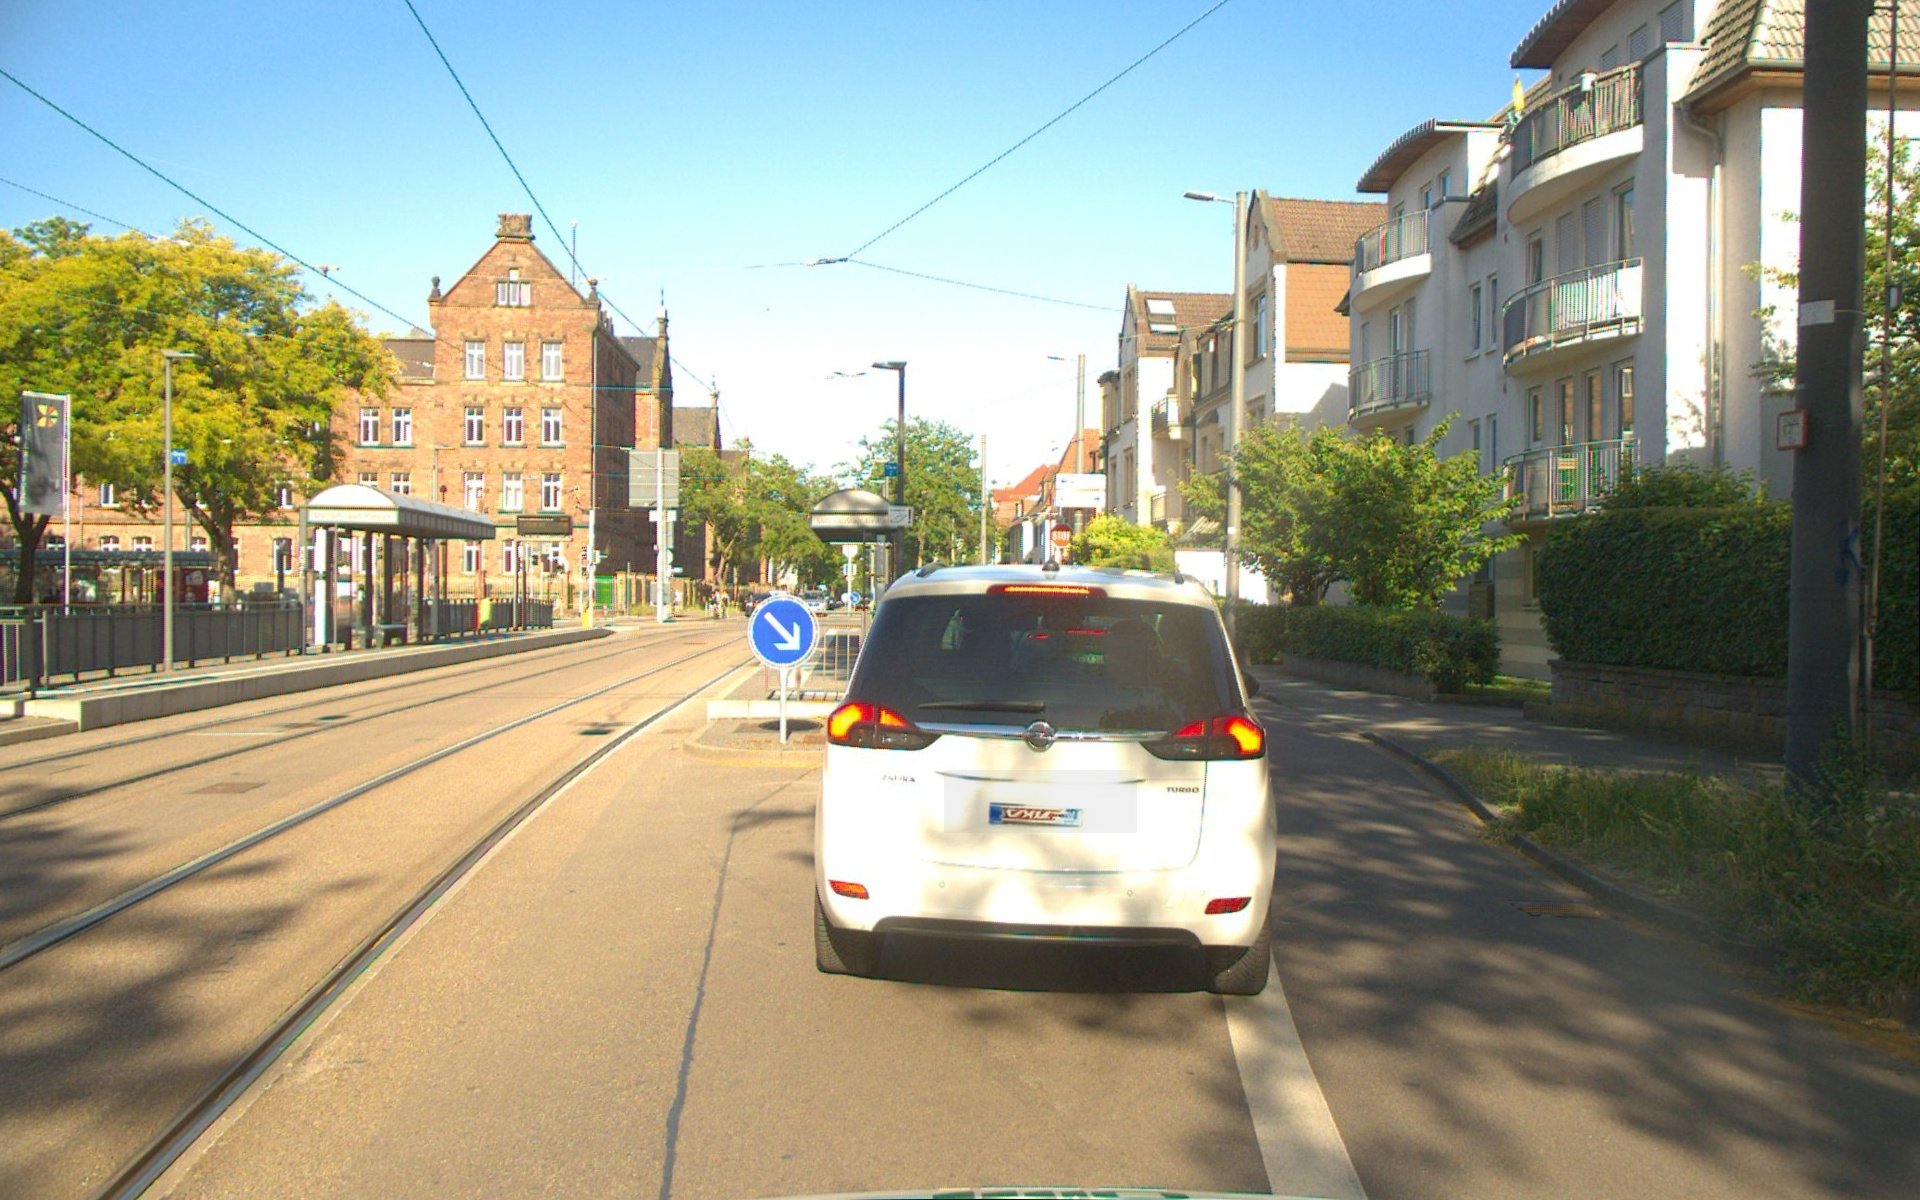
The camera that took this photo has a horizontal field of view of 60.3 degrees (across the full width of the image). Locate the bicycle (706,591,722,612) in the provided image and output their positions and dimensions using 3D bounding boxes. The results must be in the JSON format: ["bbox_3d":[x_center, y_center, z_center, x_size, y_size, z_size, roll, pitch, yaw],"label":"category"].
[{"bbox_3d":[-15.229,0.083,102.363,0.805,1.319,2.675,0,0,-4],"label":"bicycle"}]

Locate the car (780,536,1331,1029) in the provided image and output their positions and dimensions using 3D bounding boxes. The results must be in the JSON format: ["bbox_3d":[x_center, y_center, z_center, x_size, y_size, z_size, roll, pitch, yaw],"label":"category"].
[{"bbox_3d":[0.494,0.667,7.703,1.852,1.639,4.231,0,-2,5],"label":"car"}]

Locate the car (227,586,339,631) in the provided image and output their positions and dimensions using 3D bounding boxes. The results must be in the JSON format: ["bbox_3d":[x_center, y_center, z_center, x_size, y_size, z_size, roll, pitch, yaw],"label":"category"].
[{"bbox_3d":[-28.501,0.368,69.723,3.911,1.821,1.997,1,-1,-8],"label":"car"}]

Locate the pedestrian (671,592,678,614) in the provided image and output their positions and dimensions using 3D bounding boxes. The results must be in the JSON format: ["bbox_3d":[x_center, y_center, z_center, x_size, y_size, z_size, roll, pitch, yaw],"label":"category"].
[{"bbox_3d":[-19.379,0.190,112.341,0.354,1.463,0.549,0,0,-1],"label":"pedestrian"}]

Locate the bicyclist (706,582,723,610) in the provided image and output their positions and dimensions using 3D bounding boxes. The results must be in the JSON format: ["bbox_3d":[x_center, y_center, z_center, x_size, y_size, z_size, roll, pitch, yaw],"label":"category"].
[{"bbox_3d":[-15.232,-0.250,102.652,0.925,1.765,0.860,0,0,-4],"label":"bicyclist"}]

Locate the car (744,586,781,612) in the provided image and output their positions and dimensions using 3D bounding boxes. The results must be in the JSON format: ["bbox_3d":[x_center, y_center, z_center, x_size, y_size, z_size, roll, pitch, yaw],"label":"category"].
[{"bbox_3d":[-13.517,-0.097,113.514,1.952,1.752,4.001,0,0,2],"label":"car"}]

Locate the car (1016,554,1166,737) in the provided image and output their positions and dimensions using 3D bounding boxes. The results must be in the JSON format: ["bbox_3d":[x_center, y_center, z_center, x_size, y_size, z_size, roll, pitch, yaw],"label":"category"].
[{"bbox_3d":[1.694,0.509,20.527,1.672,2.049,3.909,0,0,7],"label":"car"}]

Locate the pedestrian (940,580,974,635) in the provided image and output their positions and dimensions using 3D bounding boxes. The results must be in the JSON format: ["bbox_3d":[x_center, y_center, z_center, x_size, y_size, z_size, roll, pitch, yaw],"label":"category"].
[{"bbox_3d":[-0.124,0.265,63.036,1.134,2.049,1.118,-2,0,-8],"label":"pedestrian"}]

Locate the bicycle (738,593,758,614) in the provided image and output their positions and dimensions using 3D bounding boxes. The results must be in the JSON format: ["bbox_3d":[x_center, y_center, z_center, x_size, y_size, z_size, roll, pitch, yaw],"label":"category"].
[{"bbox_3d":[-13.490,0.242,105.274,1.125,1.319,2.858,0,0,-4],"label":"bicycle"}]

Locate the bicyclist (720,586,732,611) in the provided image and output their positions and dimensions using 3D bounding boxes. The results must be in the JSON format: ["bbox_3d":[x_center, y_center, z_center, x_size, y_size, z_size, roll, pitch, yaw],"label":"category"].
[{"bbox_3d":[-15.405,-0.073,108.808,0.688,1.635,0.657,0,0,-3],"label":"bicyclist"}]

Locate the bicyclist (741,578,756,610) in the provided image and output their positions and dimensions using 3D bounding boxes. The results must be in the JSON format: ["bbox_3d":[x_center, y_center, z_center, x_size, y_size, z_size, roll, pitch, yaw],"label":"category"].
[{"bbox_3d":[-13.457,-0.388,105.273,0.932,2.049,0.822,0,0,-6],"label":"bicyclist"}]

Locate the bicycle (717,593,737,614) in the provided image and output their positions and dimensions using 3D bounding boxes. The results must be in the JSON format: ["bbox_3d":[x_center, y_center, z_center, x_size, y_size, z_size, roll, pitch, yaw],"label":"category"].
[{"bbox_3d":[-15.387,0.229,109.131,1.125,1.319,2.858,0,0,-4],"label":"bicycle"}]

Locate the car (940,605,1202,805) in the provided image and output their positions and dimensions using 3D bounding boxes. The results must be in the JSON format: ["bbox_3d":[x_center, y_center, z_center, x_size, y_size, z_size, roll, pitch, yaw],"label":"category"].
[{"bbox_3d":[1.047,0.786,14.375,1.951,1.468,4.003,0,0,6],"label":"car"}]

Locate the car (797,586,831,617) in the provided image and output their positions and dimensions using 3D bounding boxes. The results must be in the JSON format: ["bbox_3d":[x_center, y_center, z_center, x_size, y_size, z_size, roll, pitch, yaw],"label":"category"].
[{"bbox_3d":[-9.456,0.129,107.187,1.953,1.947,3.998,0,0,-2],"label":"car"}]
